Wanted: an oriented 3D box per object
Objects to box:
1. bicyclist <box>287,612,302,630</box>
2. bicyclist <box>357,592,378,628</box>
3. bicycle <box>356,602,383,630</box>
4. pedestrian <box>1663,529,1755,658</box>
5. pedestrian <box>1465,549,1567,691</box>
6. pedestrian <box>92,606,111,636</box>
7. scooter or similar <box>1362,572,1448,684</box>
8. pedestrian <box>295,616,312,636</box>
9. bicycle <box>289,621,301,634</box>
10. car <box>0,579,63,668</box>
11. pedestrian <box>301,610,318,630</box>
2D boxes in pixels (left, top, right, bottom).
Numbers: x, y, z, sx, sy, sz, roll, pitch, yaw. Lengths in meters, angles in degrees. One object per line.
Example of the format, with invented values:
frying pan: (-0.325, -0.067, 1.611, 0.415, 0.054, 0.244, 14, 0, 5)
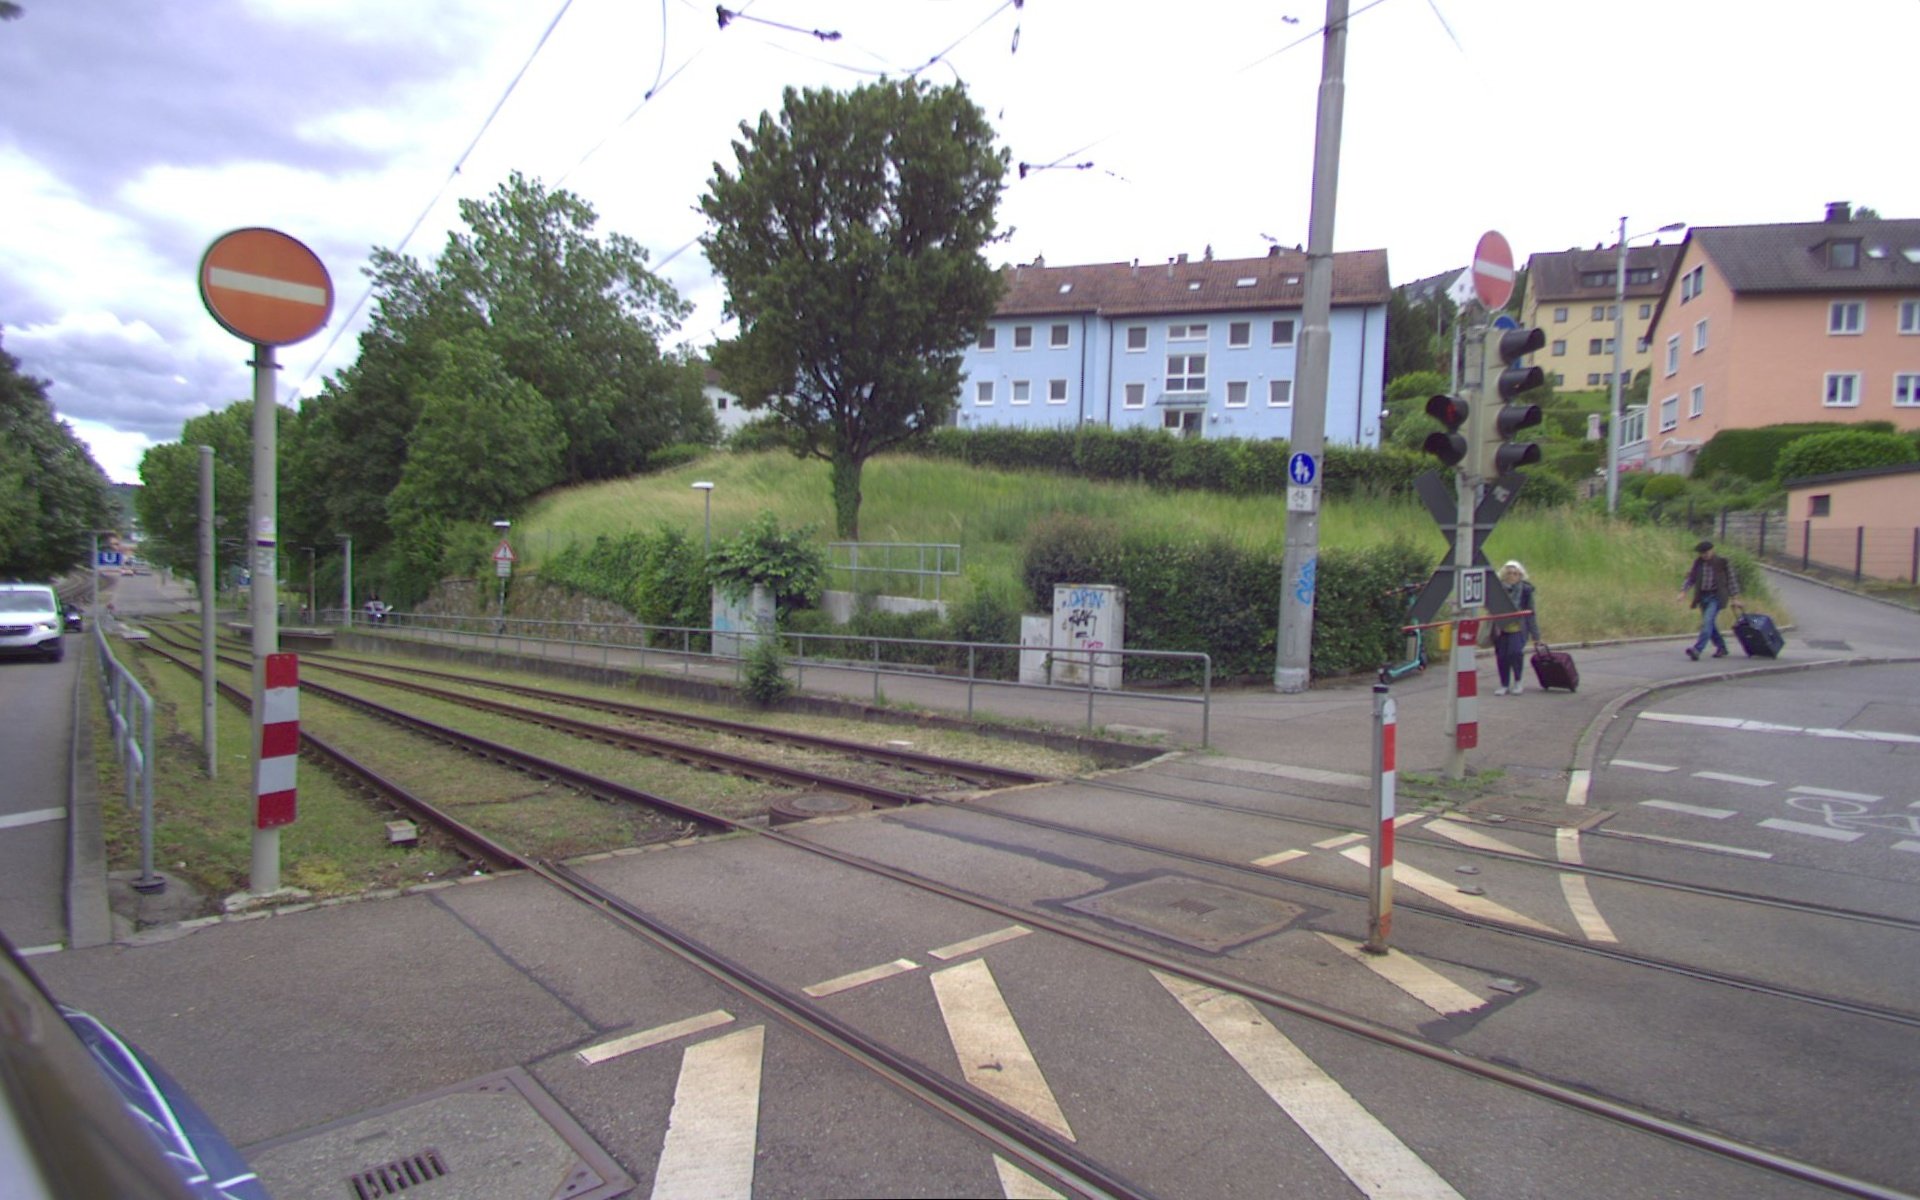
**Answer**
bicyclist: (-40.550, 1.263, 61.677, 0.681, 1.061, 0.745, 0, -1, -41)
bicyclist: (-27.763, 0.486, 47.393, 0.695, 1.641, 1.034, -2, 0, -38)
bicycle: (-27.351, 0.743, 46.846, 0.740, 1.249, 2.872, -2, 0, -37)
pedestrian: (10.645, -0.098, 14.389, 0.887, 1.763, 0.745, -1, 0, -28)
pedestrian: (6.520, 0.218, 11.880, 0.740, 1.586, 0.759, -1, 0, -28)
pedestrian: (-44.461, 1.093, 52.443, 0.728, 1.514, 0.628, -1, -1, -40)
scooter or similar: (5.762, 0.335, 13.082, 1.391, 1.298, 0.419, -6, 4, -40)
pedestrian: (-45.672, 1.787, 70.418, 0.774, 1.333, 0.811, 0, 1, 43)
bicycle: (-40.480, 1.682, 61.582, 0.444, 0.787, 1.567, 0, -1, -40)
car: (-22.272, 0.494, 23.722, 1.783, 1.936, 4.485, -1, 1, -41)
pedestrian: (-44.779, 1.383, 69.697, 0.774, 1.385, 0.811, 0, 1, 43)
